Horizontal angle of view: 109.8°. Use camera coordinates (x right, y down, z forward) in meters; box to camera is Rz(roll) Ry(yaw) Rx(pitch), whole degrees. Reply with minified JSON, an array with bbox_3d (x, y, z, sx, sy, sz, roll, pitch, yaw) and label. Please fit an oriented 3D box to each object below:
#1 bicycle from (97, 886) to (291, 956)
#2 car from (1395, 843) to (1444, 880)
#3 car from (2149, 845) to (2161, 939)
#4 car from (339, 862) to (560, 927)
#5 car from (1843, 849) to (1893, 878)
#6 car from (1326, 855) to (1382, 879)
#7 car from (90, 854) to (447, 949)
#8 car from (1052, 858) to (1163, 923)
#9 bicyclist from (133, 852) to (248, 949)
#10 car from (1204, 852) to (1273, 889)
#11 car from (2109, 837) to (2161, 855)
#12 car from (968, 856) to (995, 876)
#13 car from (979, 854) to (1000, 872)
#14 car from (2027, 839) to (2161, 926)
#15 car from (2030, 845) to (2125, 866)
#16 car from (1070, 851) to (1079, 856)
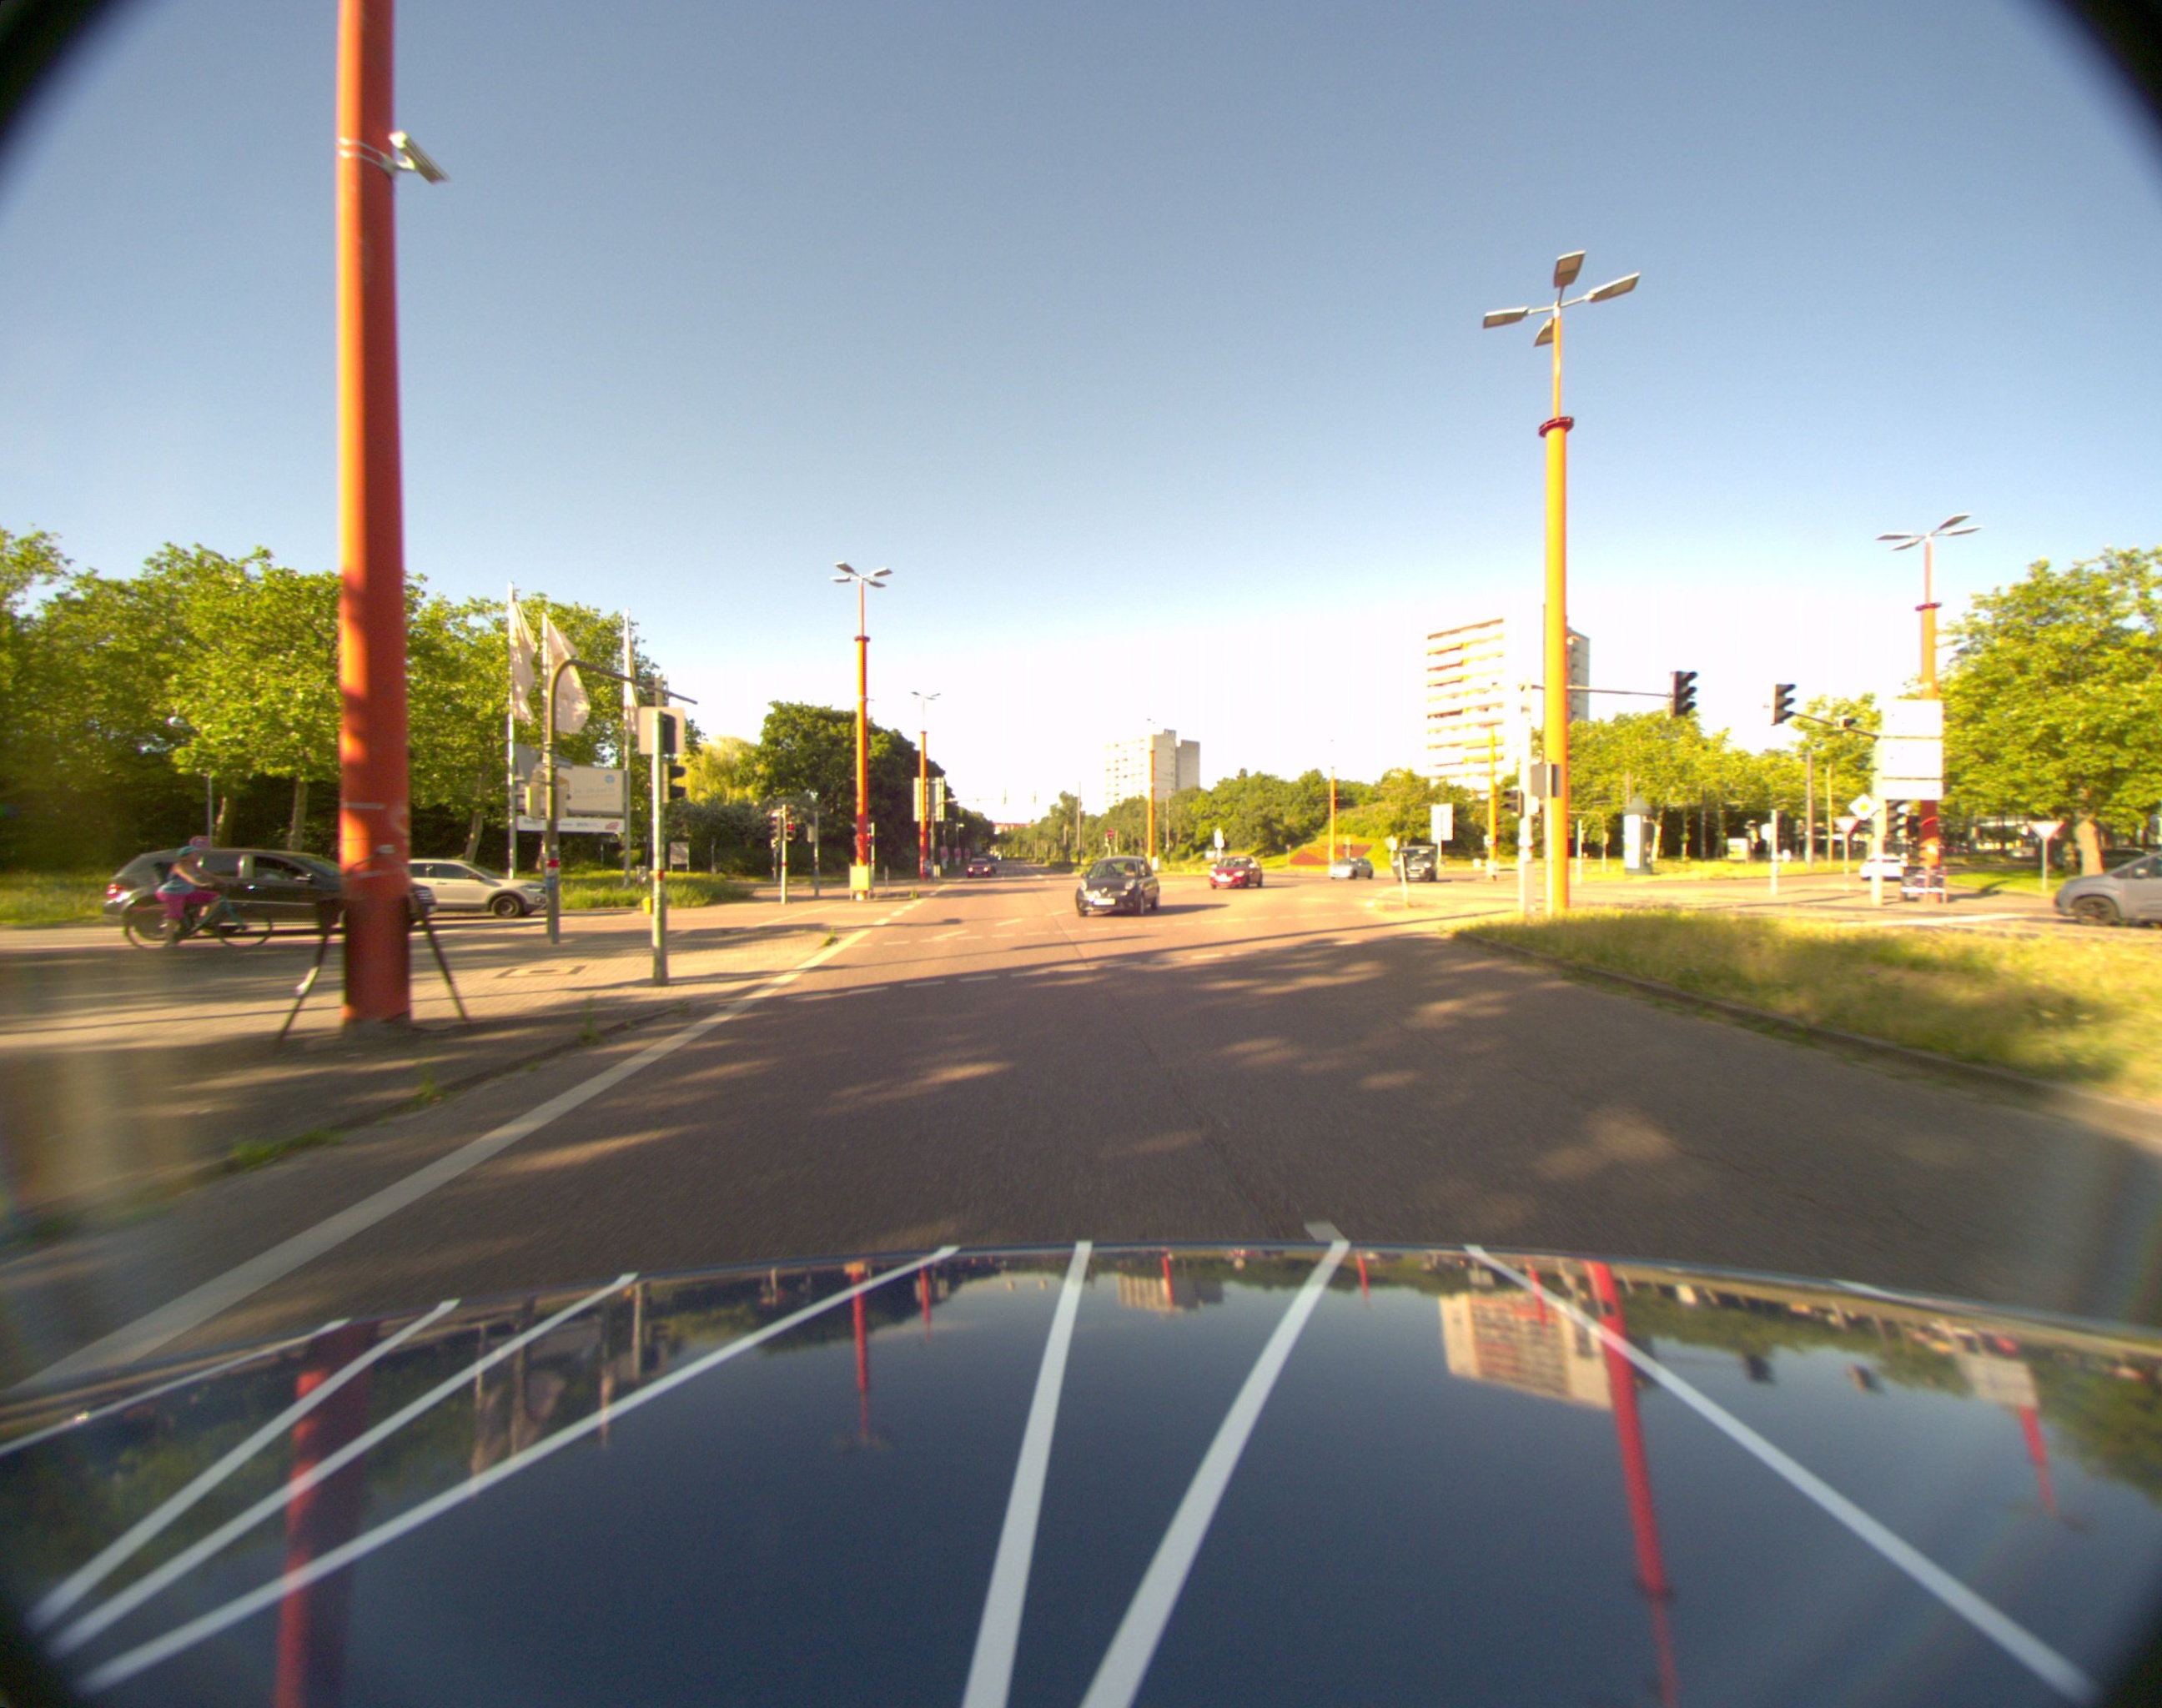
[{"bbox_3d":[-14.755,1.091,12.714,2.016,1.085,0.765,0,0,-16],"label":"bicycle"},{"bbox_3d":[21.330,0.432,47.726,2.036,2.191,5.672,-1,0,31],"label":"car"},{"bbox_3d":[19.517,0.653,10.868,1.904,1.601,4.563,1,0,-5],"label":"car"},{"bbox_3d":[-16.266,0.987,19.855,4.096,1.529,1.770,0,0,-24],"label":"car"},{"bbox_3d":[46.381,0.542,44.786,4.269,1.542,1.898,0,2,-44],"label":"car"},{"bbox_3d":[18.844,0.889,52.387,1.909,1.549,4.736,-1,0,43],"label":"car"},{"bbox_3d":[-16.411,0.881,15.744,4.659,1.716,1.905,0,0,-23],"label":"car"},{"bbox_3d":[0.835,0.844,19.557,1.737,1.474,4.628,0,0,17],"label":"car"},{"bbox_3d":[-14.831,0.749,12.686,0.982,1.548,0.760,0,0,-16],"label":"bicyclist"},{"bbox_3d":[7.235,0.712,34.574,1.768,1.549,4.735,-1,0,28],"label":"car"},{"bbox_3d":[120.922,-0.905,86.419,4.424,1.907,2.024,-1,-1,15],"label":"car"},{"bbox_3d":[-7.988,0.952,61.288,1.999,1.486,4.287,0,0,-5],"label":"car"},{"bbox_3d":[-9.207,0.865,76.554,1.999,1.722,4.816,0,0,-5],"label":"car"},{"bbox_3d":[22.724,0.593,15.191,1.904,1.764,4.444,1,0,-5],"label":"car"},{"bbox_3d":[75.019,0.109,57.250,4.041,1.478,1.817,-1,-1,16],"label":"car"},{"bbox_3d":[-1.946,-0.157,228.193,2.000,1.694,4.690,-1,0,-7],"label":"car"}]
